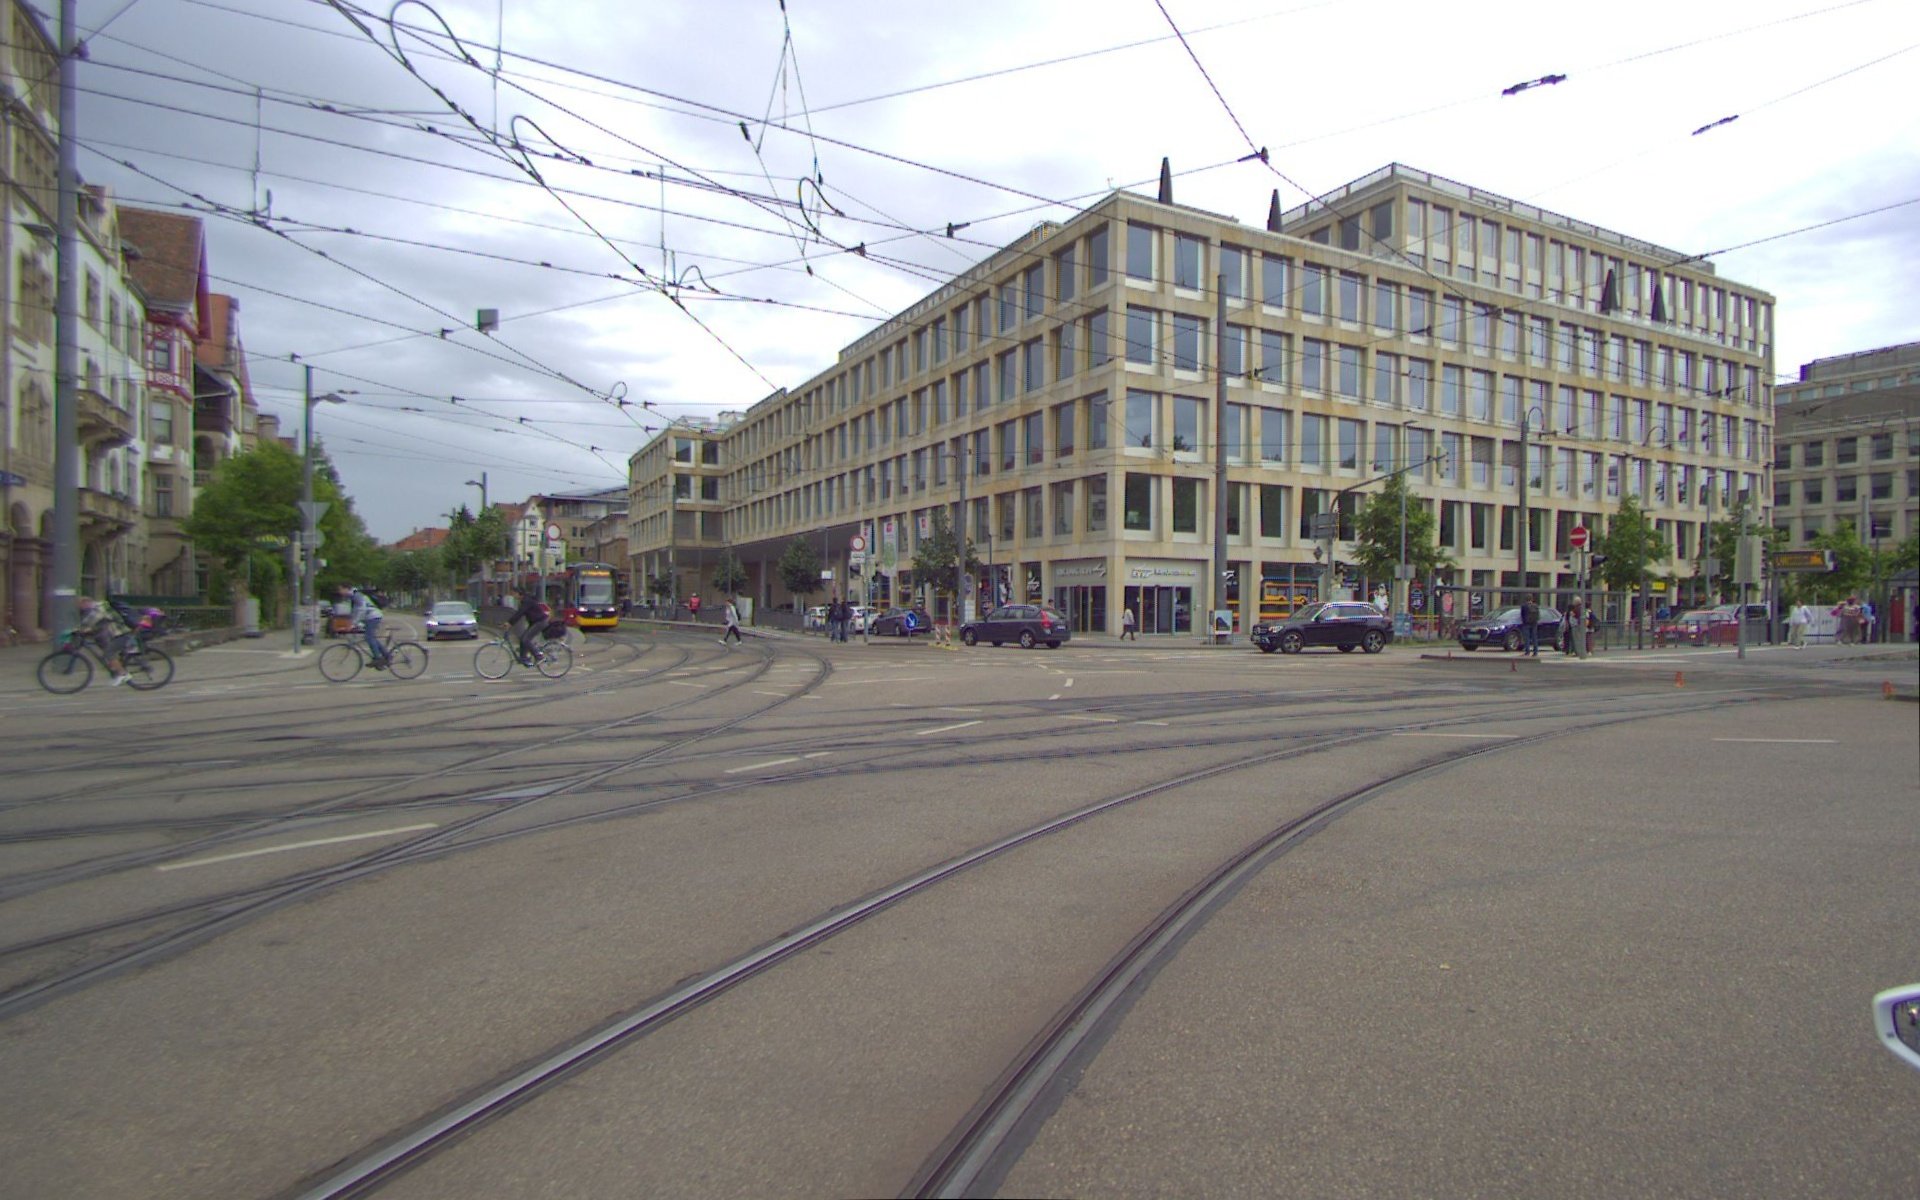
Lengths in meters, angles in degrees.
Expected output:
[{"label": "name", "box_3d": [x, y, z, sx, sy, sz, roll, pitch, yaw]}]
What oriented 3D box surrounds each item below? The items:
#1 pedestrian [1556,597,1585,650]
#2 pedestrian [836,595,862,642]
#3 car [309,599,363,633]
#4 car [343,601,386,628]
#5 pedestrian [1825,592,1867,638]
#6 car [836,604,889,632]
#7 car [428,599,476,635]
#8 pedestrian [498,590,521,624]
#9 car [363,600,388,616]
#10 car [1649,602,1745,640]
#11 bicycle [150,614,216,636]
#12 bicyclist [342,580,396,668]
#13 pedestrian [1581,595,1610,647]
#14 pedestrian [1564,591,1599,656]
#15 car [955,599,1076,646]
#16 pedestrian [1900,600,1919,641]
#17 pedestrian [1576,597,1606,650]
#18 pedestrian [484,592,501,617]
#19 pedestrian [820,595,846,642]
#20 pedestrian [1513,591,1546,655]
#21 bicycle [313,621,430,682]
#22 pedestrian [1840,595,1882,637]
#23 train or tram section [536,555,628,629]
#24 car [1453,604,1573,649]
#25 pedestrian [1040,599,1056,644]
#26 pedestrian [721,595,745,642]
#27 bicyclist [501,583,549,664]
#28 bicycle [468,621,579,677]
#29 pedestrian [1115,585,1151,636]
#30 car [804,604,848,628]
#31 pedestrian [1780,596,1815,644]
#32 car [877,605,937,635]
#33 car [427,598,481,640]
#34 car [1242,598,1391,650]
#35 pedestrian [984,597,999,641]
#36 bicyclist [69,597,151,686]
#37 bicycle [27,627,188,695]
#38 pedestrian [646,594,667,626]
[{"label": "pedestrian", "box_3d": [19.099, 0.727, 31.433, 0.514, 1.620, 0.717, 1, 0, 7]}, {"label": "pedestrian", "box_3d": [-4.301, 0.710, 38.910, 0.677, 1.777, 0.851, 1, -1, -32]}, {"label": "car", "box_3d": [-30.019, 0.752, 48.416, 1.776, 1.530, 3.974, 1, -1, -26]}, {"label": "car", "box_3d": [-34.680, 0.824, 58.612, 1.776, 1.530, 3.974, 1, -1, -26]}, {"label": "pedestrian", "box_3d": [31.547, 0.540, 35.760, 0.838, 1.607, 0.904, 1, -1, -29]}, {"label": "car", "box_3d": [-5.398, 0.962, 55.292, 1.772, 1.439, 3.678, 0, 0, -26]}, {"label": "car", "box_3d": [-22.677, 0.762, 44.941, 1.776, 1.530, 3.974, 1, -1, -26]}, {"label": "pedestrian", "box_3d": [-27.298, 0.406, 60.898, 1.110, 2.040, 1.061, 1, -1, -32]}, {"label": "car", "box_3d": [-57.749, 0.815, 99.305, 1.776, 1.530, 3.974, 1, -1, -26]}, {"label": "car", "box_3d": [29.556, 0.820, 40.258, 3.723, 1.468, 1.731, 0, 0, -29]}, {"label": "bicycle", "box_3d": [-27.606, 0.890, 35.708, 1.781, 0.748, 0.558, 1, -1, -28]}, {"label": "bicyclist", "box_3d": [-11.218, 0.444, 19.072, 0.850, 1.627, 0.718, -1, 0, -32]}, {"label": "pedestrian", "box_3d": [20.228, 0.665, 31.981, 0.705, 1.620, 0.706, 0, -1, 38]}, {"label": "pedestrian", "box_3d": [18.579, 0.693, 30.040, 0.839, 1.892, 0.747, 1, -1, 28]}, {"label": "car", "box_3d": [1.997, 0.769, 36.361, 3.935, 1.617, 1.993, 0, 0, 37]}, {"label": "pedestrian", "box_3d": [37.786, 0.799, 39.628, 0.901, 1.607, 0.841, 1, -1, -32]}, {"label": "pedestrian", "box_3d": [19.644, 0.740, 31.261, 0.514, 1.620, 0.717, 1, 0, 7]}, {"label": "pedestrian", "box_3d": [-33.758, 0.333, 72.487, 0.976, 1.749, 0.924, 1, -1, -32]}, {"label": "pedestrian", "box_3d": [-4.852, 0.708, 38.374, 0.677, 1.777, 0.851, 1, -1, -32]}, {"label": "pedestrian", "box_3d": [17.373, 0.698, 30.662, 0.839, 1.892, 0.747, 1, -1, 28]}, {"label": "bicycle", "box_3d": [-11.172, 0.954, 19.102, 1.888, 1.051, 0.718, -1, 0, -33]}, {"label": "pedestrian", "box_3d": [34.930, 0.622, 38.940, 0.895, 1.607, 0.846, 1, -1, -14]}, {"label": "train or tram section", "box_3d": [-21.056, -0.317, 55.261, 2.573, 3.560, 14.005, 1, -1, -30]}, {"label": "car", "box_3d": [19.512, 0.896, 35.401, 4.314, 1.514, 1.731, 1, 0, -30]}, {"label": "pedestrian", "box_3d": [3.578, 0.865, 40.895, 0.457, 1.818, 0.412, 1, -1, -38]}, {"label": "pedestrian", "box_3d": [-8.201, 0.671, 36.323, 0.696, 1.709, 0.604, 1, -1, -30]}, {"label": "bicyclist", "box_3d": [-8.532, 0.464, 19.697, 0.757, 1.541, 0.744, 1, -1, -32]}, {"label": "bicycle", "box_3d": [-8.547, 0.947, 19.693, 1.894, 1.050, 0.744, 1, -1, -33]}, {"label": "pedestrian", "box_3d": [7.049, 0.444, 40.968, 0.986, 2.040, 1.038, 1, -1, -29]}, {"label": "car", "box_3d": [-8.126, 0.950, 60.887, 1.699, 1.439, 3.273, 0, 0, -26]}, {"label": "pedestrian", "box_3d": [28.679, 0.675, 34.401, 0.757, 1.607, 0.704, 1, -1, -30]}, {"label": "car", "box_3d": [-2.721, 0.970, 50.821, 1.772, 1.439, 3.678, 0, 0, -26]}, {"label": "car", "box_3d": [-19.787, 0.729, 39.423, 1.776, 1.530, 3.974, 1, -1, -26]}, {"label": "car", "box_3d": [11.626, 0.775, 32.892, 4.239, 1.620, 1.743, 0, 0, -6]}, {"label": "pedestrian", "box_3d": [1.328, 0.806, 42.268, 0.457, 1.818, 0.412, 1, -1, -38]}, {"label": "bicyclist", "box_3d": [-14.456, 0.691, 17.111, 0.962, 1.463, 0.702, 0, 0, -32]}, {"label": "bicycle", "box_3d": [-14.459, 1.014, 17.111, 2.000, 1.051, 0.702, 0, 0, -33]}, {"label": "pedestrian", "box_3d": [-19.625, 0.670, 64.879, 1.057, 2.040, 1.114, 1, -1, -30]}]
